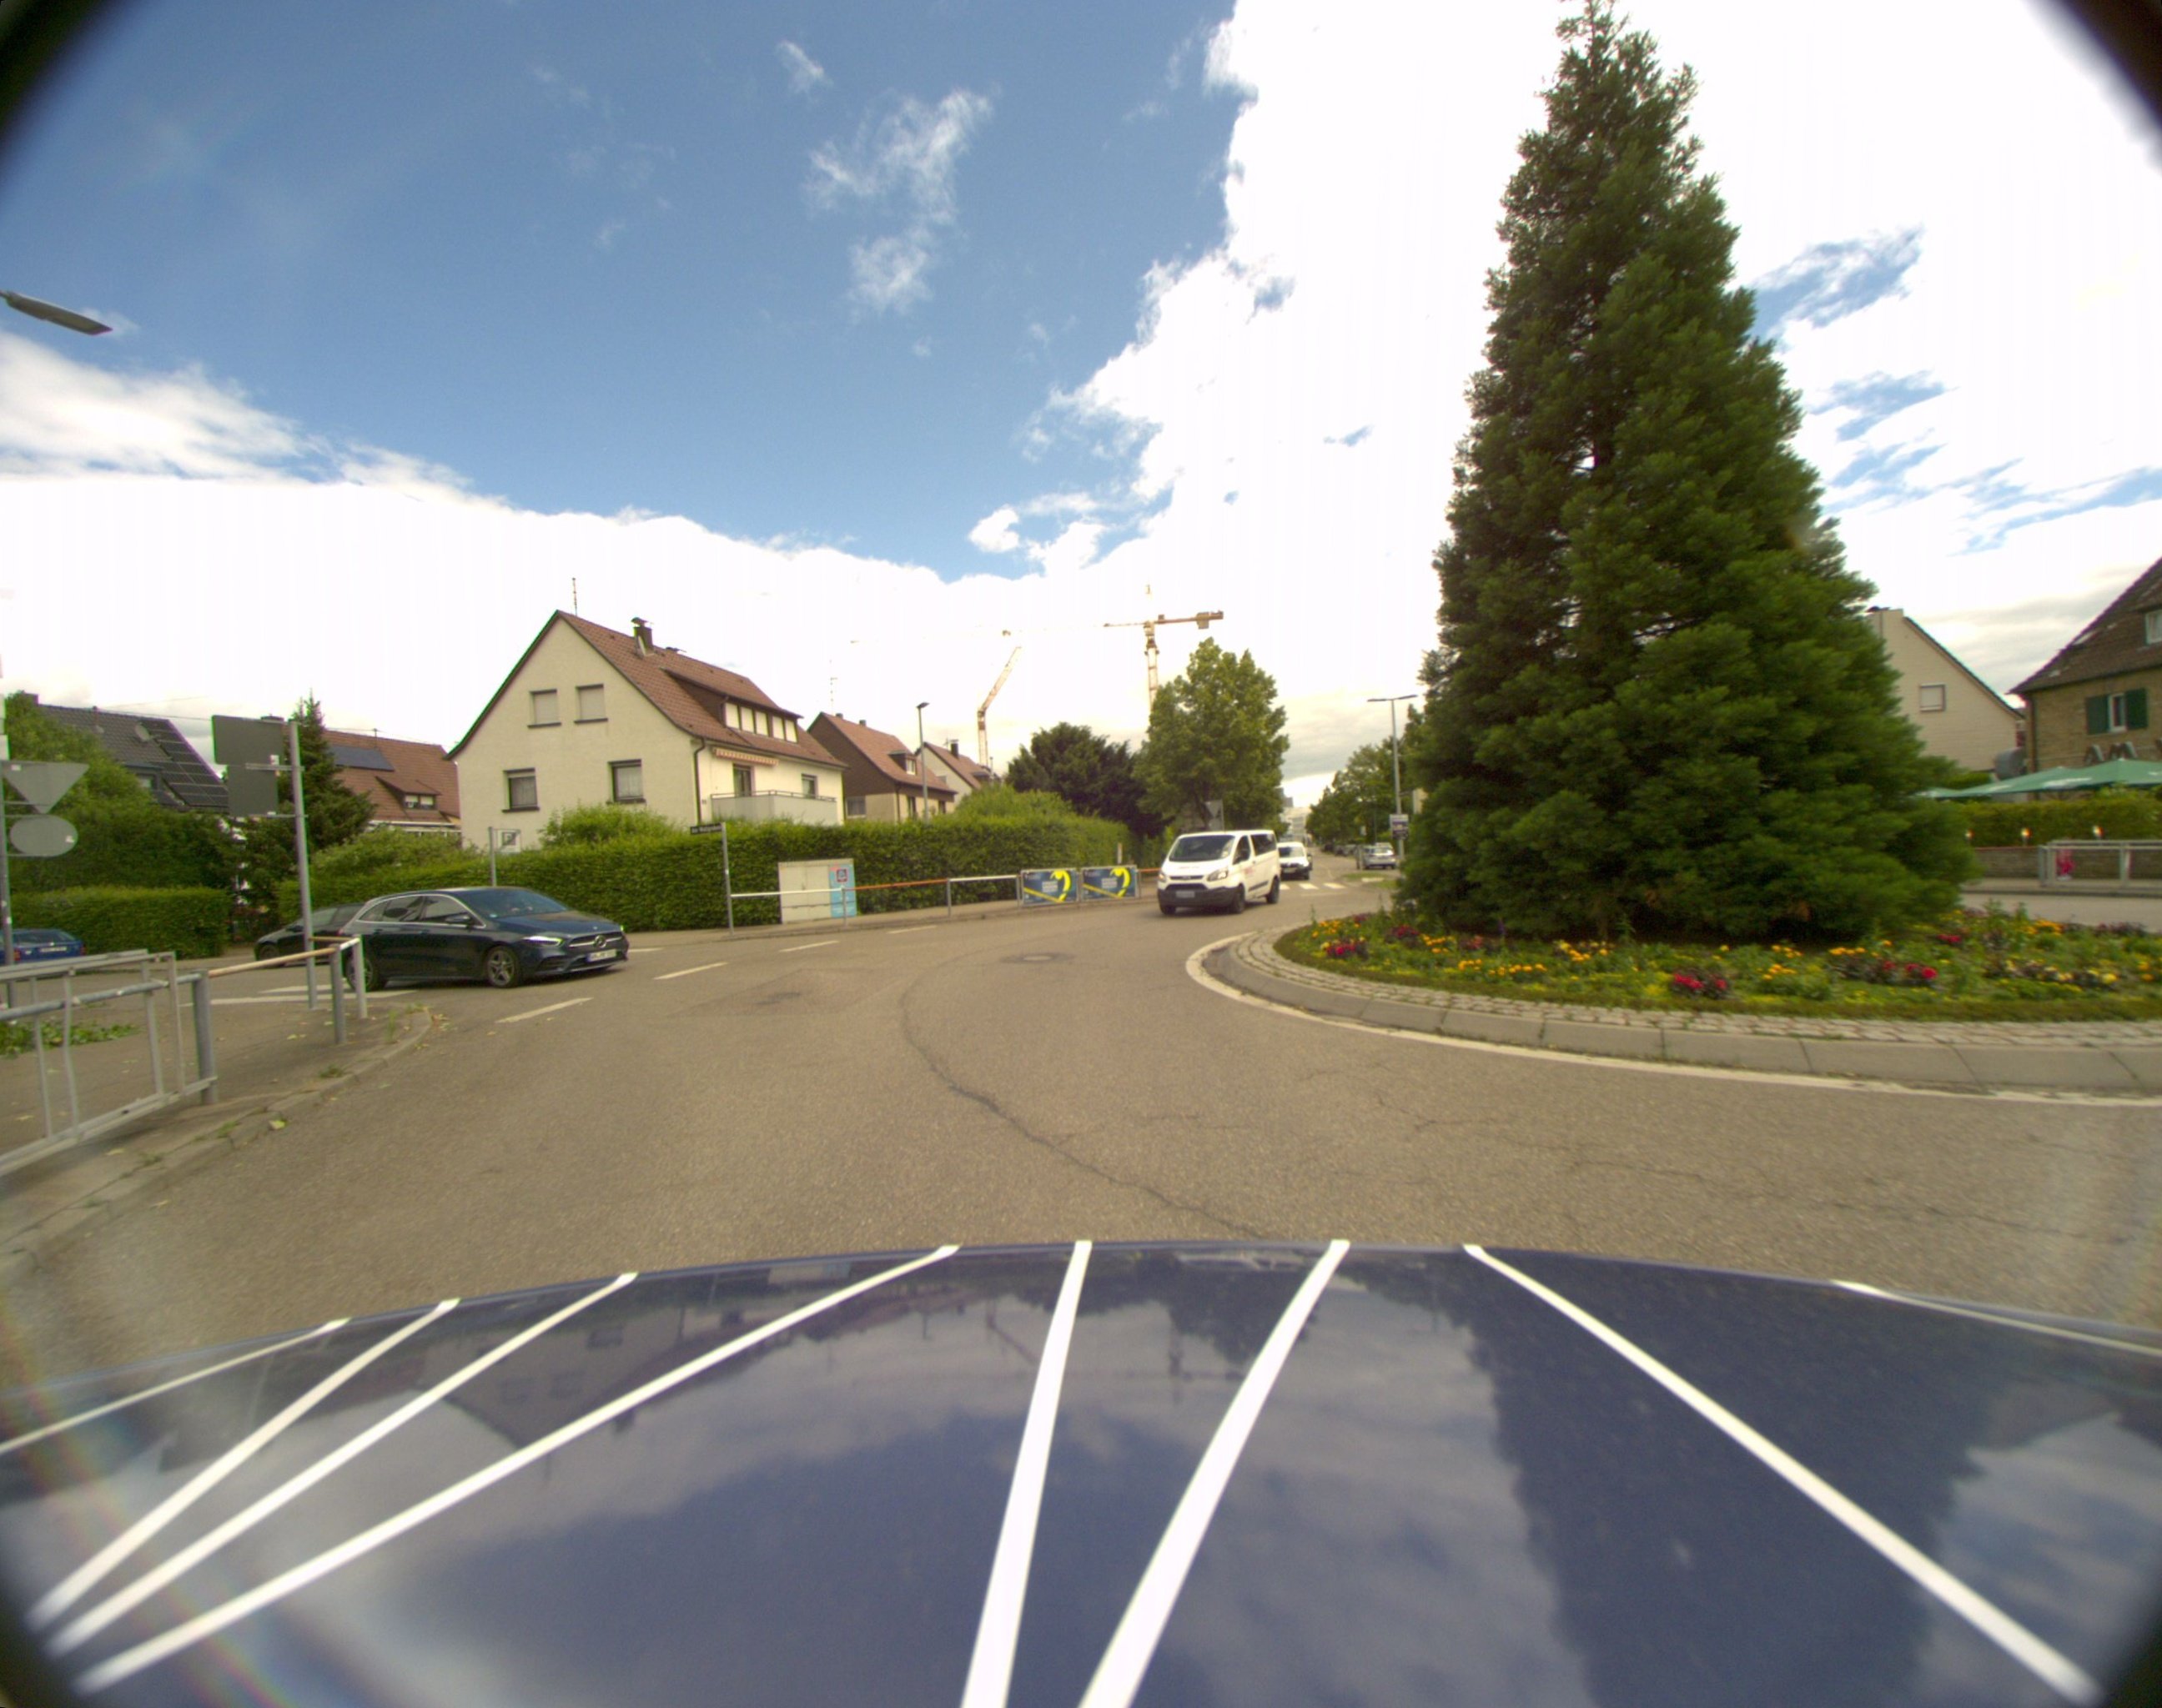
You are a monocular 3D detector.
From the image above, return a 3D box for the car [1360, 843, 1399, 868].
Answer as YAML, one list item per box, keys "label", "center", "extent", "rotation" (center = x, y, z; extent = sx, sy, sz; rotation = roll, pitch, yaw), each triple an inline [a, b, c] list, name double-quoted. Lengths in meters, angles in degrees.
- label: "car"
  center: [18.760, 0.069, 47.922]
  extent: [1.804, 1.446, 4.697]
  rotation: [-2, 0, 16]

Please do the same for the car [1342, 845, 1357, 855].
- label: "car"
  center: [36.261, -0.552, 102.653]
  extent: [1.496, 1.159, 3.197]
  rotation: [-3, 0, 13]

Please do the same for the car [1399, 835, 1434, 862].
- label: "car"
  center: [24.844, -0.405, 56.377]
  extent: [1.749, 1.819, 4.052]
  rotation: [-3, 0, 15]

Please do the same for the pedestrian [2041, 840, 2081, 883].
- label: "pedestrian"
  center: [21.853, 0.167, 16.948]
  extent: [0.341, 0.907, 0.427]
  rotation: [-5, 0, -24]

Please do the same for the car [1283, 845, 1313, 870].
- label: "car"
  center: [14.661, 0.211, 51.353]
  extent: [1.776, 1.545, 4.004]
  rotation: [-3, 0, 16]

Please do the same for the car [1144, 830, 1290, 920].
- label: "car"
  center: [3.659, 0.438, 19.468]
  extent: [1.995, 2.002, 5.059]
  rotation: [-3, 0, 30]

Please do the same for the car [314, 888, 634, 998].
- label: "car"
  center: [-9.560, 1.392, 12.047]
  extent: [4.313, 1.440, 1.585]
  rotation: [-3, 0, 14]

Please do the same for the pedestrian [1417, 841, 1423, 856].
- label: "pedestrian"
  center: [30.778, -0.513, 68.972]
  extent: [0.386, 1.357, 0.413]
  rotation: [-3, 0, 15]

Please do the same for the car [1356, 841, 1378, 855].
- label: "car"
  center: [32.004, -0.656, 85.141]
  extent: [1.664, 1.466, 3.749]
  rotation: [-3, 0, 10]

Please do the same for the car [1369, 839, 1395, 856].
- label: "car"
  center: [30.958, -0.662, 78.216]
  extent: [1.759, 1.552, 3.749]
  rotation: [-3, 0, 10]

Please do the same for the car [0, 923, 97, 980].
- label: "car"
  center: [-29.862, 2.718, 21.150]
  extent: [3.434, 1.359, 1.571]
  rotation: [-3, 0, 10]

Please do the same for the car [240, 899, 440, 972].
- label: "car"
  center: [-18.744, 2.049, 19.291]
  extent: [3.612, 1.446, 1.709]
  rotation: [-4, 0, 8]

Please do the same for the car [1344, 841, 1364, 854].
- label: "car"
  center: [33.181, -0.778, 92.490]
  extent: [1.608, 1.524, 3.749]
  rotation: [-3, 0, 10]

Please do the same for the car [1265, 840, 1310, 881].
- label: "car"
  center: [9.899, 0.261, 36.345]
  extent: [1.924, 1.744, 4.004]
  rotation: [-3, 0, 16]
